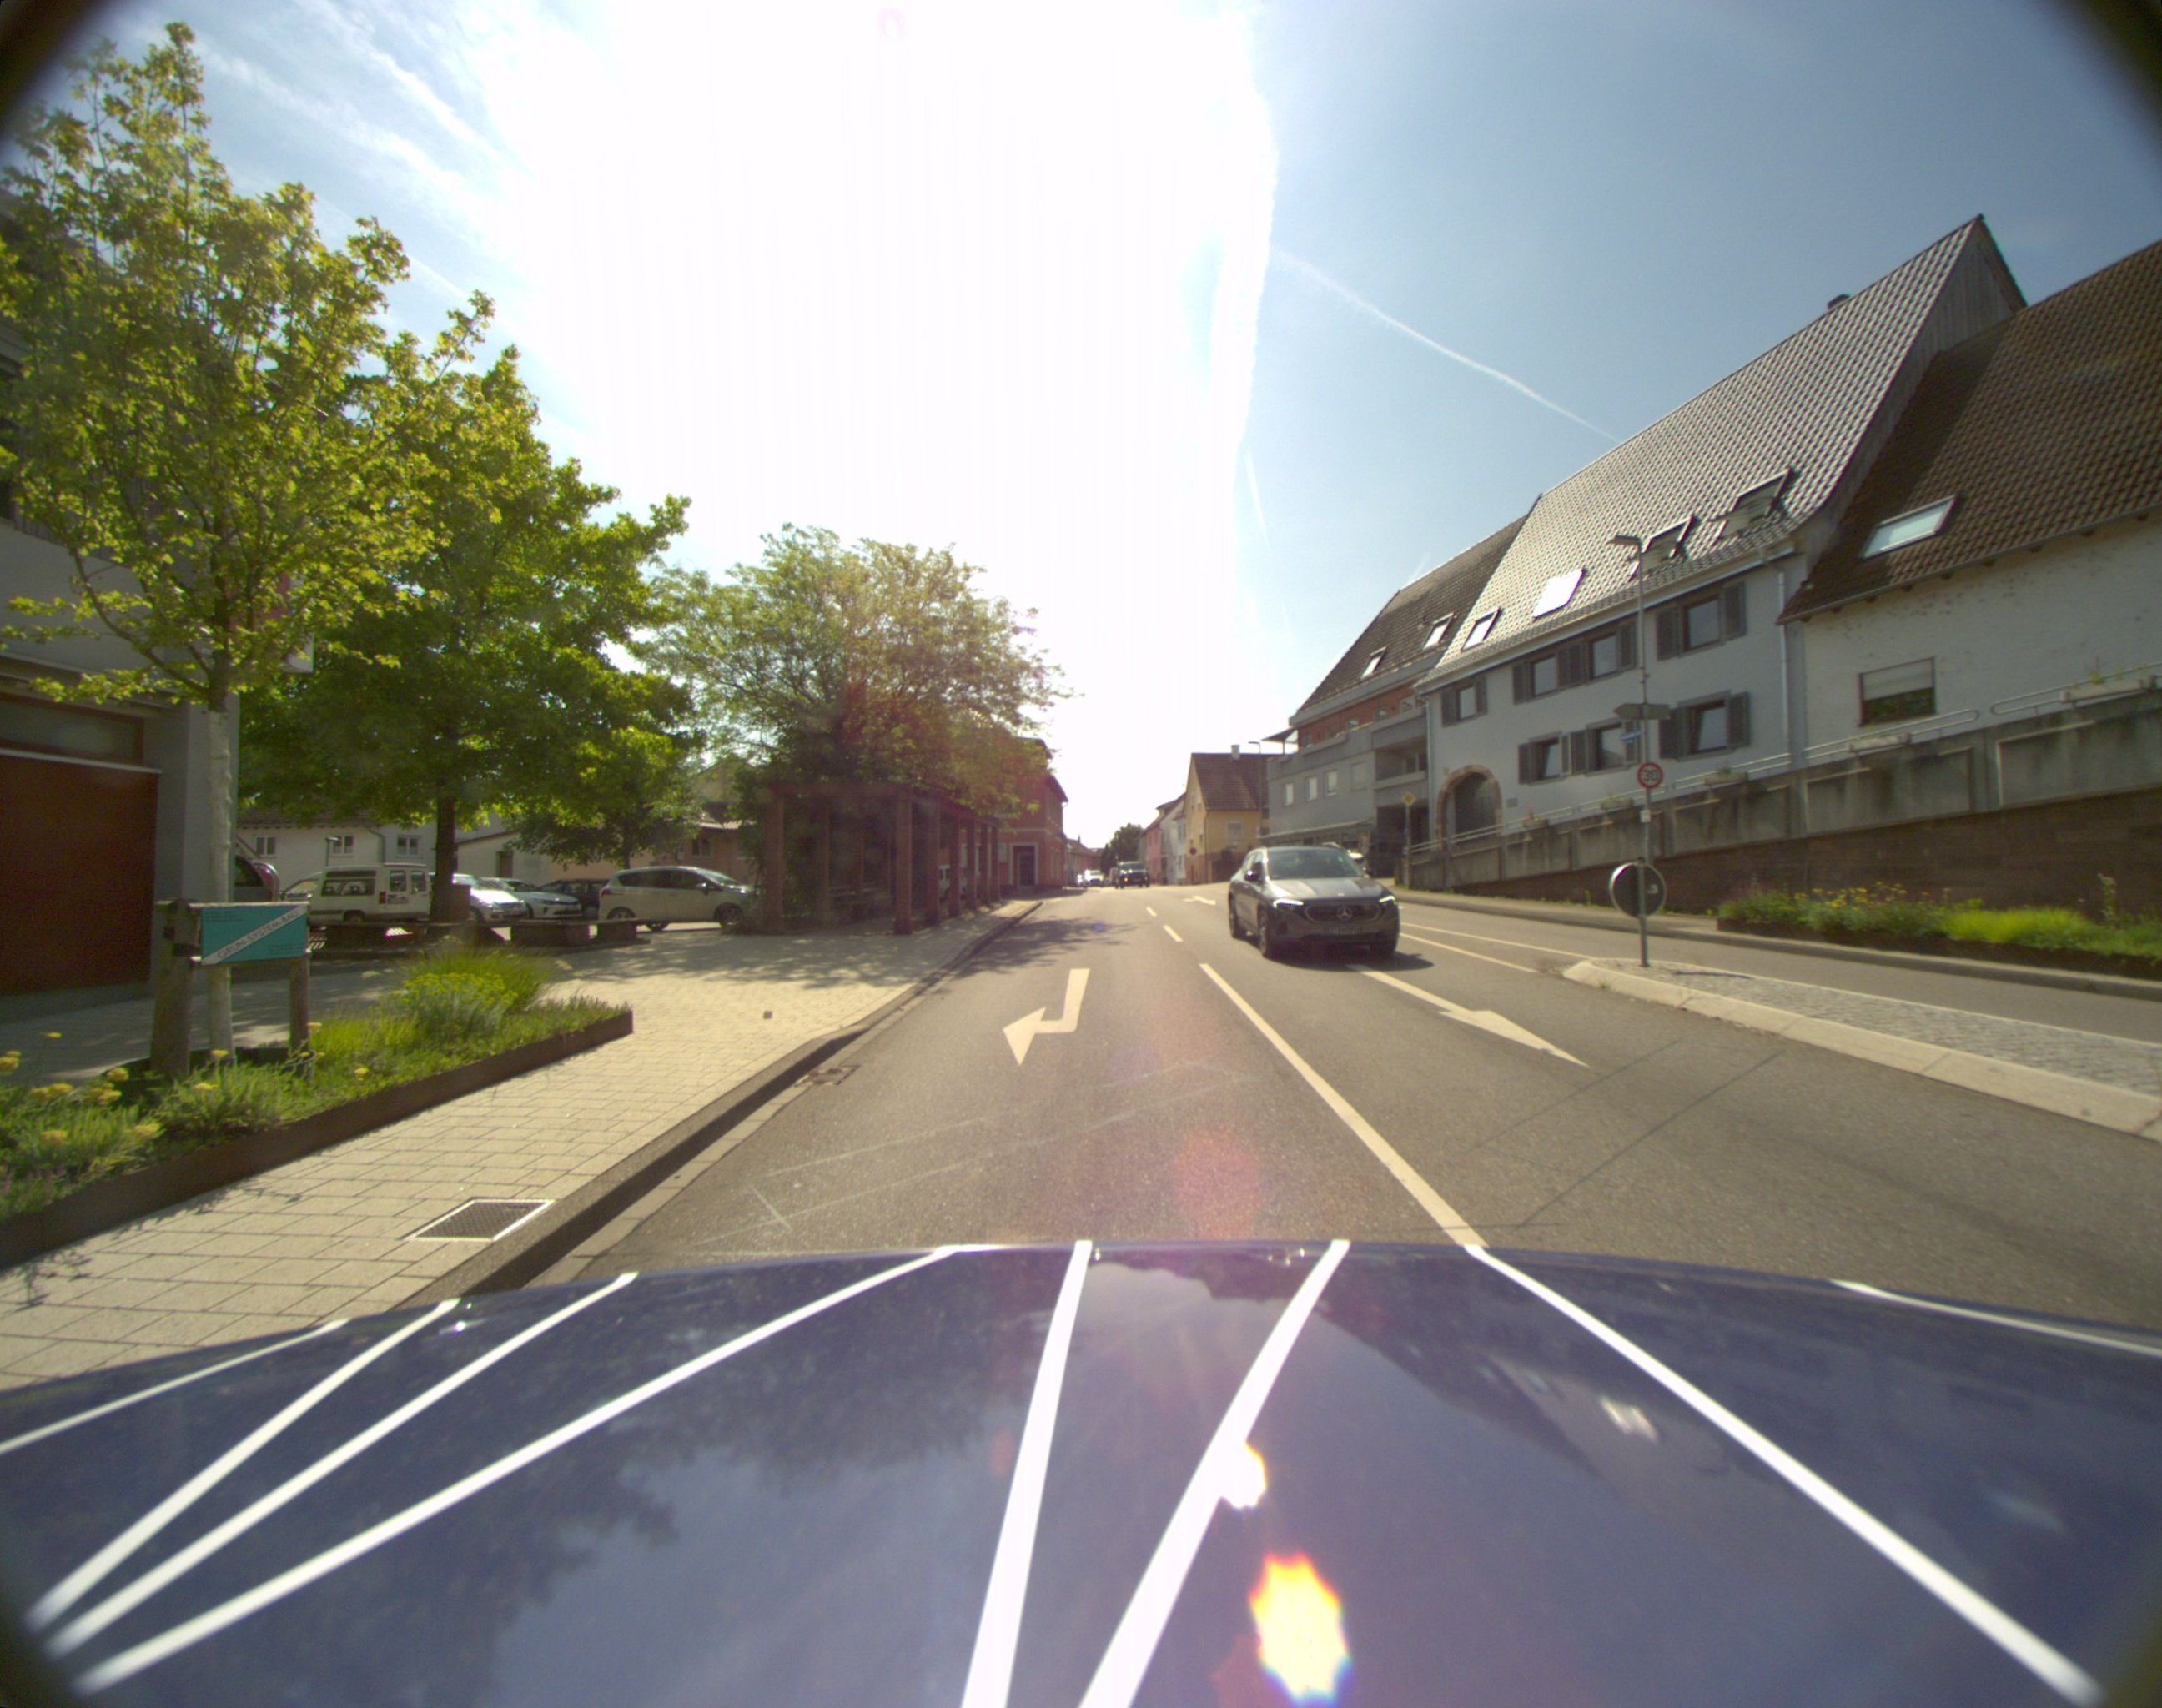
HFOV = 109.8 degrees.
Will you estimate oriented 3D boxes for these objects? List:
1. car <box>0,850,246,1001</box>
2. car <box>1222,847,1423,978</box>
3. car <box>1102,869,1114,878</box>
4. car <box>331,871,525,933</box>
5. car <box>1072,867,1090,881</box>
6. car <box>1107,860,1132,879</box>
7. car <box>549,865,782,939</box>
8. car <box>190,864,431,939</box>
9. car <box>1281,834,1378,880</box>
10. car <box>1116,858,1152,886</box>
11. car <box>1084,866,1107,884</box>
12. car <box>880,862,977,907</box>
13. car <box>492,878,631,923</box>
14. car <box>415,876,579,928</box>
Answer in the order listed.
[{"bbox_3d":[-12.123,0.759,8.506,3.706,1.501,1.725,-1,0,3],"label":"car"},{"bbox_3d":[3.418,0.729,11.653,1.737,1.564,4.290,-3,0,1],"label":"car"},{"bbox_3d":[4.233,3.119,121.139,1.733,1.532,3.813,0,-2,-1],"label":"car"},{"bbox_3d":[-18.586,1.333,21.772,3.982,1.602,1.756,-1,0,-1],"label":"car"},{"bbox_3d":[-0.016,2.311,89.674,1.836,1.533,4.171,-1,0,3],"label":"car"},{"bbox_3d":[3.986,1.598,79.015,1.974,1.921,5.313,0,-1,-3],"label":"car"},{"bbox_3d":[-9.693,1.100,17.976,4.492,1.535,1.725,-1,0,-1],"label":"car"},{"bbox_3d":[-19.620,1.163,19.495,4.185,1.730,1.884,-1,0,-1],"label":"car"},{"bbox_3d":[10.662,0.152,33.090,1.810,1.787,5.282,-2,0,-8],"label":"car"},{"bbox_3d":[3.234,1.081,47.059,1.792,1.642,4.393,-1,0,-1],"label":"car"},{"bbox_3d":[1.266,1.865,68.878,1.780,1.533,4.098,-2,0,-2],"label":"car"},{"bbox_3d":[-7.313,1.431,36.575,4.095,1.743,1.813,-5,-1,6],"label":"car"},{"bbox_3d":[-18.457,1.635,27.102,3.881,1.423,1.521,-1,0,-1],"label":"car"},{"bbox_3d":[-18.489,1.500,24.182,3.881,1.482,1.654,-1,0,-1],"label":"car"}]
